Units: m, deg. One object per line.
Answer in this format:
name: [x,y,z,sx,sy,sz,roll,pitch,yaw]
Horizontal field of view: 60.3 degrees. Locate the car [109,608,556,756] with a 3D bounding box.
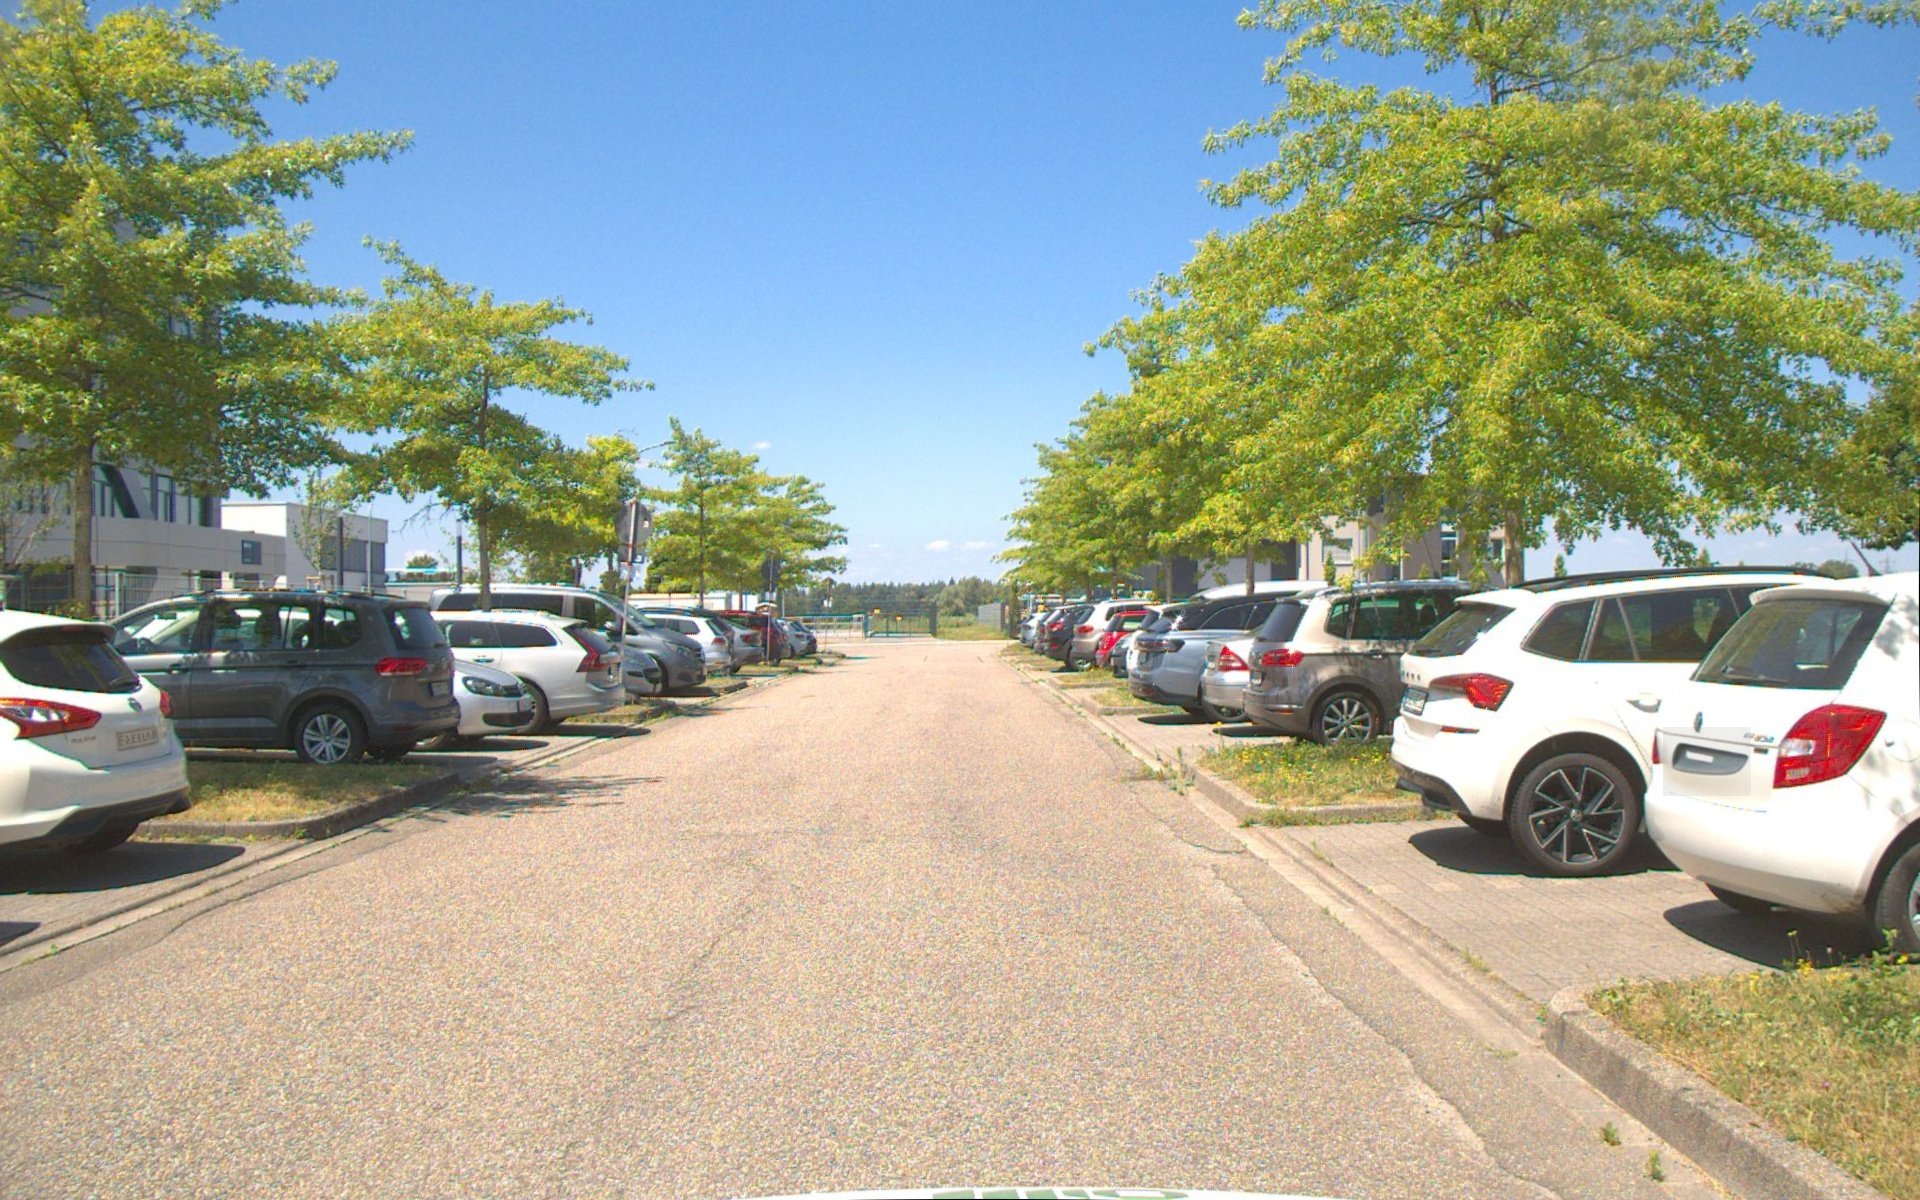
car: [-6.746,0.862,18.133,4.225,1.499,1.726,1,0,-3]

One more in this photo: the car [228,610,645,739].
car: [-6.387,0.900,20.618,4.620,1.472,1.856,1,0,-4]

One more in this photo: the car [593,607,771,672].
car: [-6.907,0.979,41.372,4.107,1.506,1.712,1,-1,0]

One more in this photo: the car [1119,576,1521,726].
car: [4.515,0.627,21.182,4.624,1.588,1.912,-3,0,-5]

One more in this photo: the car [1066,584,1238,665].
car: [4.489,0.575,39.113,3.796,1.707,1.782,-3,-1,-1]

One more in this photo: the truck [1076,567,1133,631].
truck: [9.356,-0.046,107.577,2.862,3.998,6.933,-1,0,-1]

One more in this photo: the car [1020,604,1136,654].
car: [4.420,1.084,62.454,4.192,1.673,1.850,-3,-1,-1]

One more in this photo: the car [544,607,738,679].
car: [-6.933,0.929,36.195,3.957,1.486,1.603,1,-1,-4]

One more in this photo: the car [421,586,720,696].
car: [-7.037,0.729,30.249,4.965,1.925,1.997,0,0,1]

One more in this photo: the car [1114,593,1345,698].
car: [4.475,0.748,27.793,3.557,1.529,1.676,-3,-1,0]

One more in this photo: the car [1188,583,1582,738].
car: [4.703,0.658,18.677,3.964,1.478,1.645,-3,-1,0]

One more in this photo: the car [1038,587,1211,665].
car: [4.114,0.641,41.814,4.089,1.726,1.781,-3,-1,-2]

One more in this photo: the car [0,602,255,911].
car: [-6.479,0.790,9.461,4.086,1.539,1.807,1,1,1]

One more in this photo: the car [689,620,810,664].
car: [-7.225,1.430,57.068,3.995,1.449,1.872,1,-1,-5]

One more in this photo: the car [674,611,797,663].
car: [-6.791,1.110,50.238,3.584,1.535,1.729,1,-1,-5]

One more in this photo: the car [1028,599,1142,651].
car: [4.508,0.898,59.914,3.906,1.673,1.837,-2,-1,-2]

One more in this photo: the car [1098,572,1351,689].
car: [4.802,0.554,30.469,4.313,1.862,1.795,-3,-1,0]

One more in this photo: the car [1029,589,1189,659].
car: [4.298,0.687,48.126,4.360,1.799,1.992,-3,0,-3]

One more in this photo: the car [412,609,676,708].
car: [-6.799,0.943,27.332,3.888,1.510,1.763,1,0,-1]

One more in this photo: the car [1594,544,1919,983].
car: [4.857,0.532,6.829,3.756,1.551,1.779,-2,0,-1]

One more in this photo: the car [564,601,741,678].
car: [-7.183,0.928,38.963,3.910,1.708,1.775,1,-1,-6]

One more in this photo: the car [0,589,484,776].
car: [-6.865,0.756,15.941,4.034,1.663,1.727,1,0,-2]

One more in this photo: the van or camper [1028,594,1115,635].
van or camper: [6.454,0.813,96.017,4.836,2.201,2.000,-1,1,-2]

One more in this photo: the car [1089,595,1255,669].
car: [4.684,0.709,36.890,3.387,1.441,1.754,-3,-1,-1]

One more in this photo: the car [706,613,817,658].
car: [-7.117,1.269,59.550,3.849,1.547,1.783,1,-1,-4]

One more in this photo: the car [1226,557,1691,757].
car: [4.743,0.532,16.135,3.964,1.653,1.693,-3,-1,0]

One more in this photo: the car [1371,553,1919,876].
car: [4.381,0.564,9.285,3.753,1.580,1.780,-2,0,5]

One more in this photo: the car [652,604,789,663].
car: [-6.854,0.953,47.624,3.661,1.650,1.816,1,-1,0]
